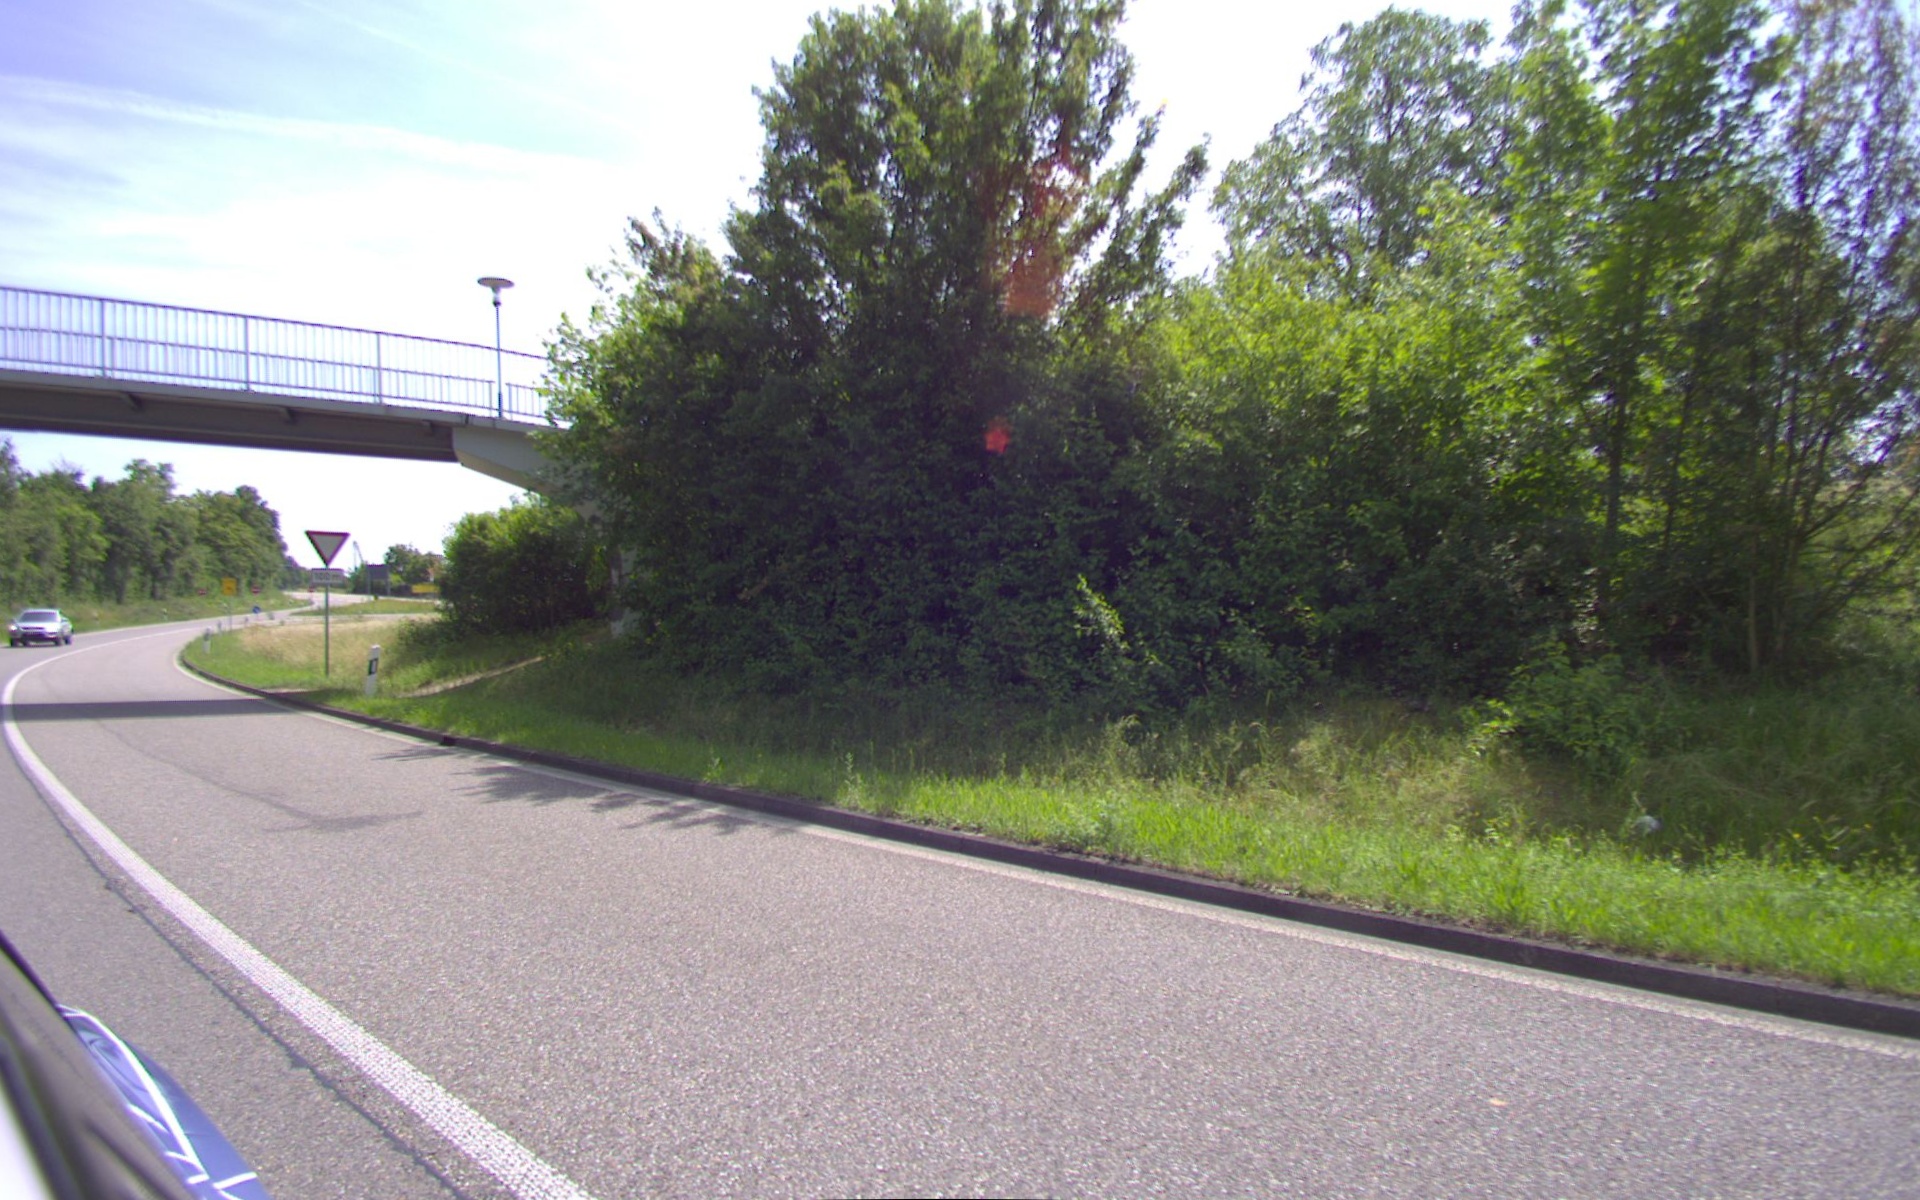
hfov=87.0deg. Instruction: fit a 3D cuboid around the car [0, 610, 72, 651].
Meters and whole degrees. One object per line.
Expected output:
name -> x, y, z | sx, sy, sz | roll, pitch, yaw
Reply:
car -> -42.443, 1.356, 46.486 | 1.819, 1.721, 4.100 | -1, 0, -32
